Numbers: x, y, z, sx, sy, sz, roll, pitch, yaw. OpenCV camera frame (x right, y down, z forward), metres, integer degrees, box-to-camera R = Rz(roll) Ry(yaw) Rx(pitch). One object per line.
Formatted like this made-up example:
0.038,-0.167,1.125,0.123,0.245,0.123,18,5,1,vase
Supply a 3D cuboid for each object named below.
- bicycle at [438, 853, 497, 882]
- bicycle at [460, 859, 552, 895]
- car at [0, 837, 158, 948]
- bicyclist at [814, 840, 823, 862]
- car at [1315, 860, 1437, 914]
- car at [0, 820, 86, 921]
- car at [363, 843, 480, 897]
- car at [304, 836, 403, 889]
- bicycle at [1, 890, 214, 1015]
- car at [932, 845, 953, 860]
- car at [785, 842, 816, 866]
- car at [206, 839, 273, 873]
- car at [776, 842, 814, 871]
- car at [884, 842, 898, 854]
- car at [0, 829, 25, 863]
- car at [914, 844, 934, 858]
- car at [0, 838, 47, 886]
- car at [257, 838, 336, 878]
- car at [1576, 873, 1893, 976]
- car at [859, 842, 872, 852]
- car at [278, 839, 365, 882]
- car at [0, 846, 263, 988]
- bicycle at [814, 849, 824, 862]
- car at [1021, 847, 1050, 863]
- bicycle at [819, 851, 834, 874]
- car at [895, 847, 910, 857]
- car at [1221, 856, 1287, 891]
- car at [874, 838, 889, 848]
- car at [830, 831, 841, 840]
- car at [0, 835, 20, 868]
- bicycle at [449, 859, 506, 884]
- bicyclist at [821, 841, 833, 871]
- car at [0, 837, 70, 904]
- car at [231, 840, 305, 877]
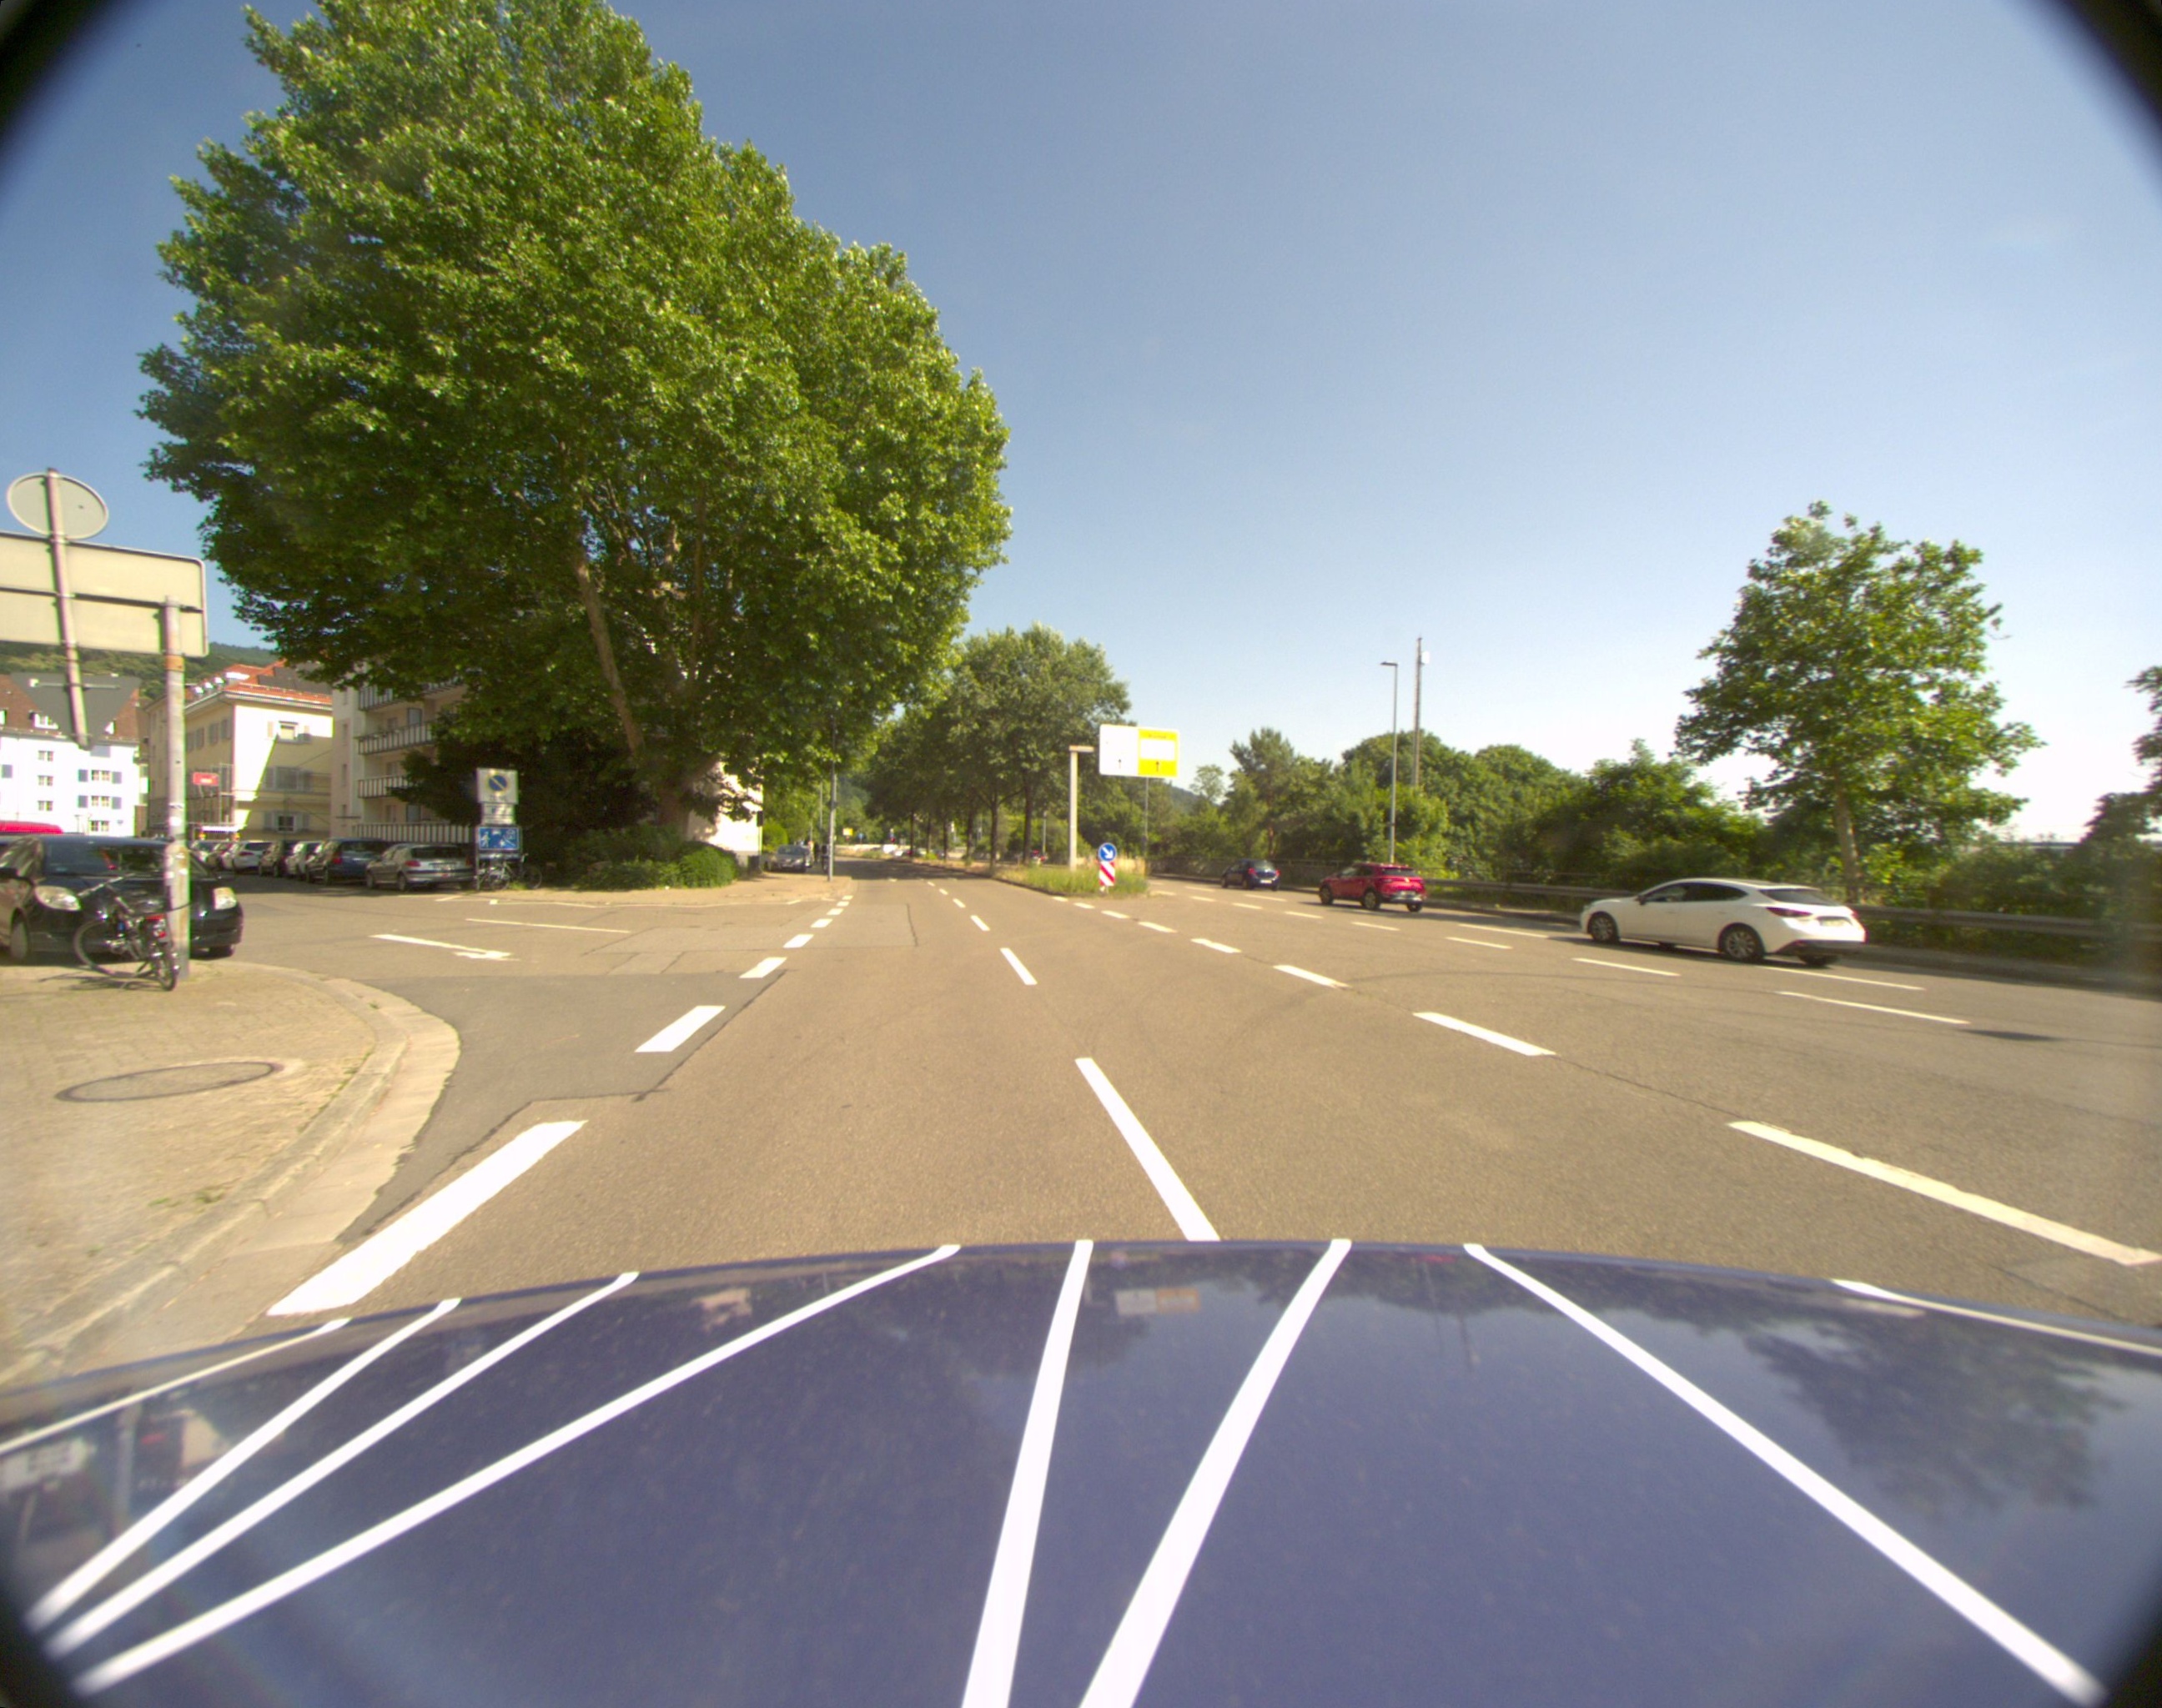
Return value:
-22.345,0.502,27.712,0.455,0.987,1.579,3,0,33,bicycle
-16.787,0.634,22.217,0.971,0.978,1.902,2,1,30,bicycle
-16.713,0.508,12.135,4.051,1.534,1.992,1,1,32,car
-23.528,-0.284,68.176,0.649,1.883,0.837,1,1,-26,bicyclist
9.595,1.019,25.066,1.804,1.511,3.959,2,0,-13,car
-21.269,0.254,14.953,4.213,1.830,1.876,2,1,35,car
-19.850,0.441,22.829,3.783,1.443,1.814,2,1,36,car
-24.678,0.236,25.755,3.768,1.648,1.758,2,1,36,car
-9.418,0.908,7.353,1.879,1.028,0.627,1,1,17,bicycle
-18.199,-0.227,99.689,2.002,1.880,3.992,1,1,-21,car
-19.326,0.004,52.323,1.649,1.565,3.991,1,1,-25,car
-40.773,0.071,36.785,3.660,1.511,1.758,2,1,36,car
-15.463,0.116,41.187,1.795,1.504,3.886,1,1,-20,car
-31.485,-1.056,126.093,1.637,1.904,3.672,1,0,-24,car
-56.436,-0.422,39.321,3.851,1.712,1.873,1,1,32,car
-22.145,-0.489,107.051,2.003,1.880,3.991,1,1,-24,car
-35.506,0.235,24.752,3.988,1.477,1.873,1,1,32,car
-32.372,0.129,31.328,3.660,1.511,1.758,2,1,36,car
11.817,1.195,14.205,1.871,1.444,4.200,3,0,-10,car
-37.882,-1.244,133.436,1.637,1.801,3.584,1,1,-25,car
-28.767,0.217,28.760,3.660,1.511,1.758,2,1,36,car
-12.460,0.652,9.633,3.758,1.438,1.830,1,1,26,car
-23.501,0.100,68.140,0.662,1.116,1.799,1,0,-26,bicycle
-4.922,0.068,80.898,1.926,1.654,4.304,1,0,-20,car
-13.617,0.432,40.700,0.554,1.182,1.285,1,1,-10,bicycle
-28.222,-0.376,119.805,1.637,1.487,3.672,1,1,-24,car
8.441,0.916,37.451,1.647,1.492,3.644,3,0,-14,car
-37.760,-2.130,143.915,2.003,1.856,3.990,3,0,-26,car
-50.910,-3.851,157.633,1.637,1.801,3.584,1,0,-25,car
-50.766,-0.133,35.074,3.851,1.477,1.873,1,1,32,car
-21.463,0.627,27.028,0.382,0.829,1.510,3,0,33,bicycle
-13.616,0.100,40.716,0.541,1.624,0.589,1,1,-12,bicyclist
-25.940,0.353,18.149,3.988,1.477,1.873,1,1,33,car
-35.991,0.159,33.621,3.660,1.511,1.758,2,1,36,car
